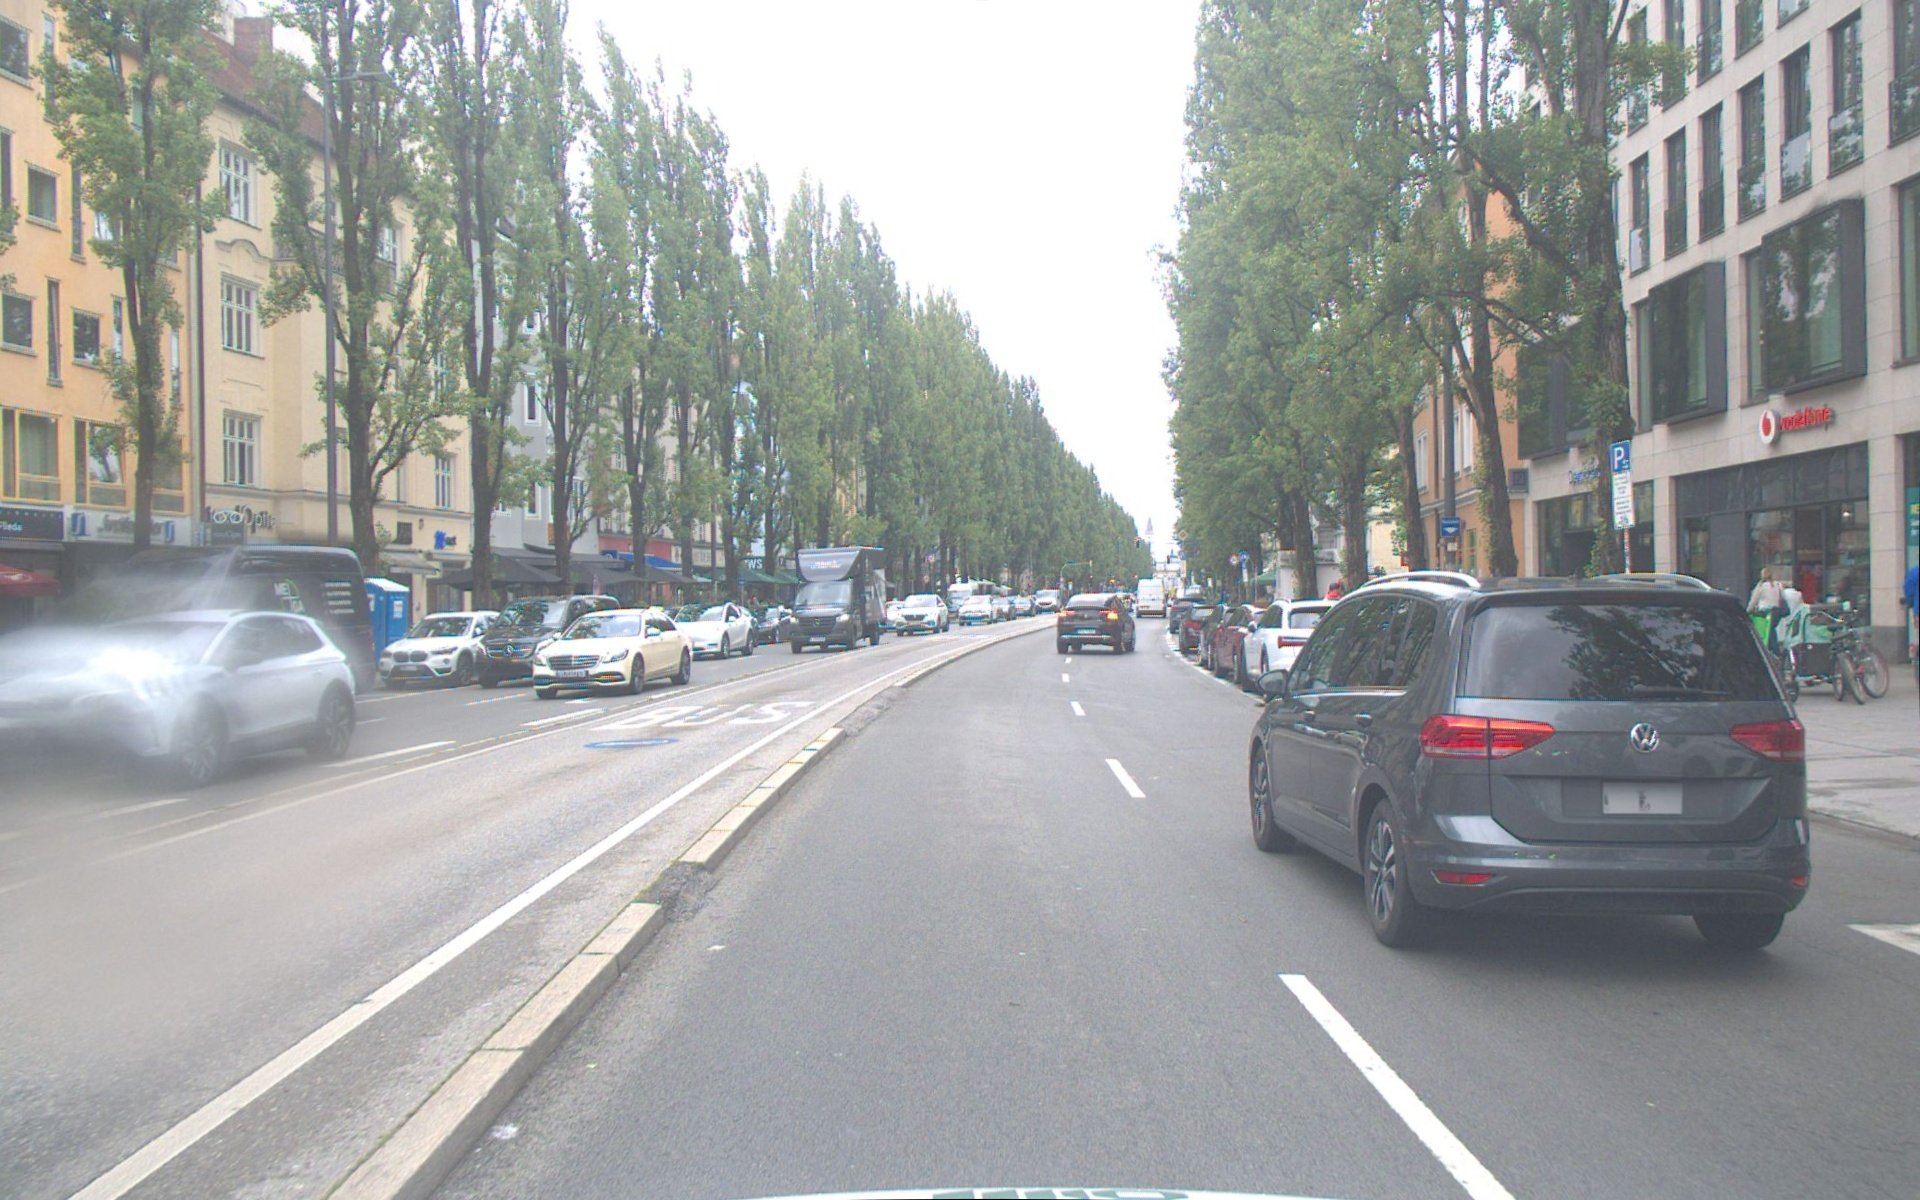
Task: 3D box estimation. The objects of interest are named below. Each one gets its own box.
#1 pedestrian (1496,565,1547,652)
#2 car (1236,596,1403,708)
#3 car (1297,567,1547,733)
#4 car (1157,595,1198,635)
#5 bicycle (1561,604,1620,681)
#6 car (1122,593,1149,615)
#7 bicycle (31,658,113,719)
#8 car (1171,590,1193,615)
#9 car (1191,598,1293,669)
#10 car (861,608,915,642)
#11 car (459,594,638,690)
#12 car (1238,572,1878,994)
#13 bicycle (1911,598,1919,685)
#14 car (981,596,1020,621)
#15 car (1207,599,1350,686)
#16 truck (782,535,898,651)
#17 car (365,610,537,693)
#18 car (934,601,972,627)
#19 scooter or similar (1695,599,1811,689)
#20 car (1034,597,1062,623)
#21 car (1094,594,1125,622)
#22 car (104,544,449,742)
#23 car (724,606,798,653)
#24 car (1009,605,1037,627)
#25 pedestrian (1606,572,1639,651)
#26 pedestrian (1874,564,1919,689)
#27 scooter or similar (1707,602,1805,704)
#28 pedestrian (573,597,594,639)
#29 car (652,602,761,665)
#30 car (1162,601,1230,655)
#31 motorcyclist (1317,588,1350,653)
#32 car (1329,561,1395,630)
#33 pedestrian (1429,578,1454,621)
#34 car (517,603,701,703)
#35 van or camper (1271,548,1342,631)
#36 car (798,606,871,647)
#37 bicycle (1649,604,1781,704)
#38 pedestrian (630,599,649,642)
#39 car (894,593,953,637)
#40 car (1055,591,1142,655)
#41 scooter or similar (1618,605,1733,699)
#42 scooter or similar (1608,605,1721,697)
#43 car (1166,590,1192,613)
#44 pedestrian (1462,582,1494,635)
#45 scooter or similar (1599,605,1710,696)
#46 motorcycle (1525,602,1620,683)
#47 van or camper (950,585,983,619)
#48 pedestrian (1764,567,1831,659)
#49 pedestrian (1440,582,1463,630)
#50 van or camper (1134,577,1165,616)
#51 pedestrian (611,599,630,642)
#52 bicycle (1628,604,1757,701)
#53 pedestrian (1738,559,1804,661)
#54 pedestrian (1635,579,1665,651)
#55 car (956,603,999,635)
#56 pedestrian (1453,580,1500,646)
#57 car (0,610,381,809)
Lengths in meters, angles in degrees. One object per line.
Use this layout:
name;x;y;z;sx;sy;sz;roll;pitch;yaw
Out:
pedestrian;12.577;0.189;37.054;0.800;1.902;0.939;-2;0;3
car;5.476;0.734;25.763;1.772;1.526;4.808;-2;0;3
car;5.293;0.546;19.580;1.884;1.730;4.651;0;-1;3
car;9.219;0.600;70.316;1.589;1.592;4.374;-1;0;7
bicycle;10.440;0.686;27.382;0.536;1.210;1.449;-2;0;36
car;14.608;0.293;137.703;1.951;1.747;4.003;-2;0;9
bicycle;-16.116;1.593;30.056;0.449;0.980;1.881;-1;0;0
car;18.215;0.193;135.731;1.766;2.027;4.003;0;-1;7
car;6.253;0.710;37.108;1.808;1.453;4.428;-1;0;4
car;-3.484;1.201;80.405;1.898;1.519;4.460;-2;0;6
car;-9.133;0.870;37.306;1.951;1.896;5.715;-3;0;6
car;2.701;0.715;8.577;1.725;1.642;4.182;0;0;-1
bicycle;13.303;0.578;22.200;0.440;1.192;1.769;-2;0;15
car;2.533;0.502;103.105;1.951;1.457;4.776;-2;0;7
car;5.962;0.752;31.506;1.890;1.475;4.805;-1;0;1
truck;-3.724;-0.212;52.990;2.242;3.381;7.162;-2;0;7
car;-11.385;1.109;37.330;1.951;1.658;4.385;-2;0;9
car;-0.434;0.900;104.177;1.809;1.592;4.215;-2;-1;7
scooter or similar;11.325;0.620;23.634;1.355;1.232;0.554;-2;0;5
car;7.398;0.843;138.701;1.951;1.968;4.922;-3;-1;7
car;8.923;0.478;98.746;1.722;1.648;3.749;0;-1;7
car;-10.246;0.579;25.517;2.124;2.651;6.069;-2;0;7
car;-7.673;1.125;64.191;1.822;1.658;4.171;-2;0;7
car;4.381;1.067;114.614;1.675;1.438;3.725;-2;0;6
pedestrian;14.126;0.236;35.266;0.540;1.666;0.557;-1;0;32
pedestrian;12.782;0.345;22.285;0.597;1.647;0.795;-2;0;15
scooter or similar;10.071;0.667;20.934;1.029;1.247;0.380;-2;0;-1
pedestrian;-15.612;0.741;68.655;0.624;1.729;0.648;-2;0;7
car;-7.438;0.941;48.946;1.951;1.680;4.639;-2;0;7
car;6.758;0.767;47.777;1.696;1.419;4.436;-2;0;5
motorcyclist;8.409;0.461;37.273;0.552;1.431;0.766;-2;0;4
car;14.866;-0.182;60.963;1.861;2.368;4.827;-2;0;19
pedestrian;18.591;-0.026;63.916;0.803;1.641;0.780;-2;0;10
car;-6.529;0.934;31.413;1.952;1.616;5.198;-3;0;5
van or camper;13.951;-0.429;66.863;2.408;3.166;4.719;-2;0;8
car;-4.844;1.013;64.386;1.898;1.459;4.542;-2;0;7
bicycle;9.765;0.688;21.409;1.448;1.229;0.535;-2;0;-1
pedestrian;-14.484;0.926;74.672;0.624;1.894;0.648;-2;0;7
car;-1.514;0.599;70.685;1.821;1.741;4.539;-2;0;7
car;3.996;0.621;47.174;1.840;1.670;4.587;-1;0;12
scooter or similar;9.696;0.702;22.433;1.405;1.222;0.311;-2;0;-2
scooter or similar;9.691;0.697;22.758;1.405;1.222;0.311;-2;0;-2
car;15.652;0.091;118.280;1.766;1.624;4.003;-2;0;7
pedestrian;15.861;0.267;50.645;0.596;1.578;0.710;-2;0;-21
scooter or similar;9.691;0.701;23.094;1.405;1.222;0.311;-2;0;-2
motorcycle;10.932;0.746;29.577;0.675;1.380;1.634;-2;0;-20
van or camper;0.529;0.160;125.568;1.951;2.501;4.254;-1;0;7
pedestrian;15.402;0.227;30.428;0.781;1.649;0.714;-2;0;-17
pedestrian;17.064;0.207;57.367;0.714;1.654;0.805;-2;0;17
van or camper;12.913;-0.222;112.500;1.991;2.519;4.003;-1;-1;7
pedestrian;-15.313;0.925;74.608;0.624;1.894;0.648;-2;0;7
bicycle;9.723;0.691;21.982;1.448;1.229;0.535;-2;0;-1
pedestrian;14.586;0.179;29.767;0.781;1.803;0.679;-1;0;-17
pedestrian;14.770;0.318;35.383;0.493;1.517;0.546;-1;0;32
car;0.988;1.041;92.401;1.898;1.671;4.467;-2;0;6
pedestrian;12.885;0.324;41.284;0.817;1.604;0.938;-1;0;-1
car;-7.591;0.960;16.356;1.869;1.631;4.357;-2;0;5
